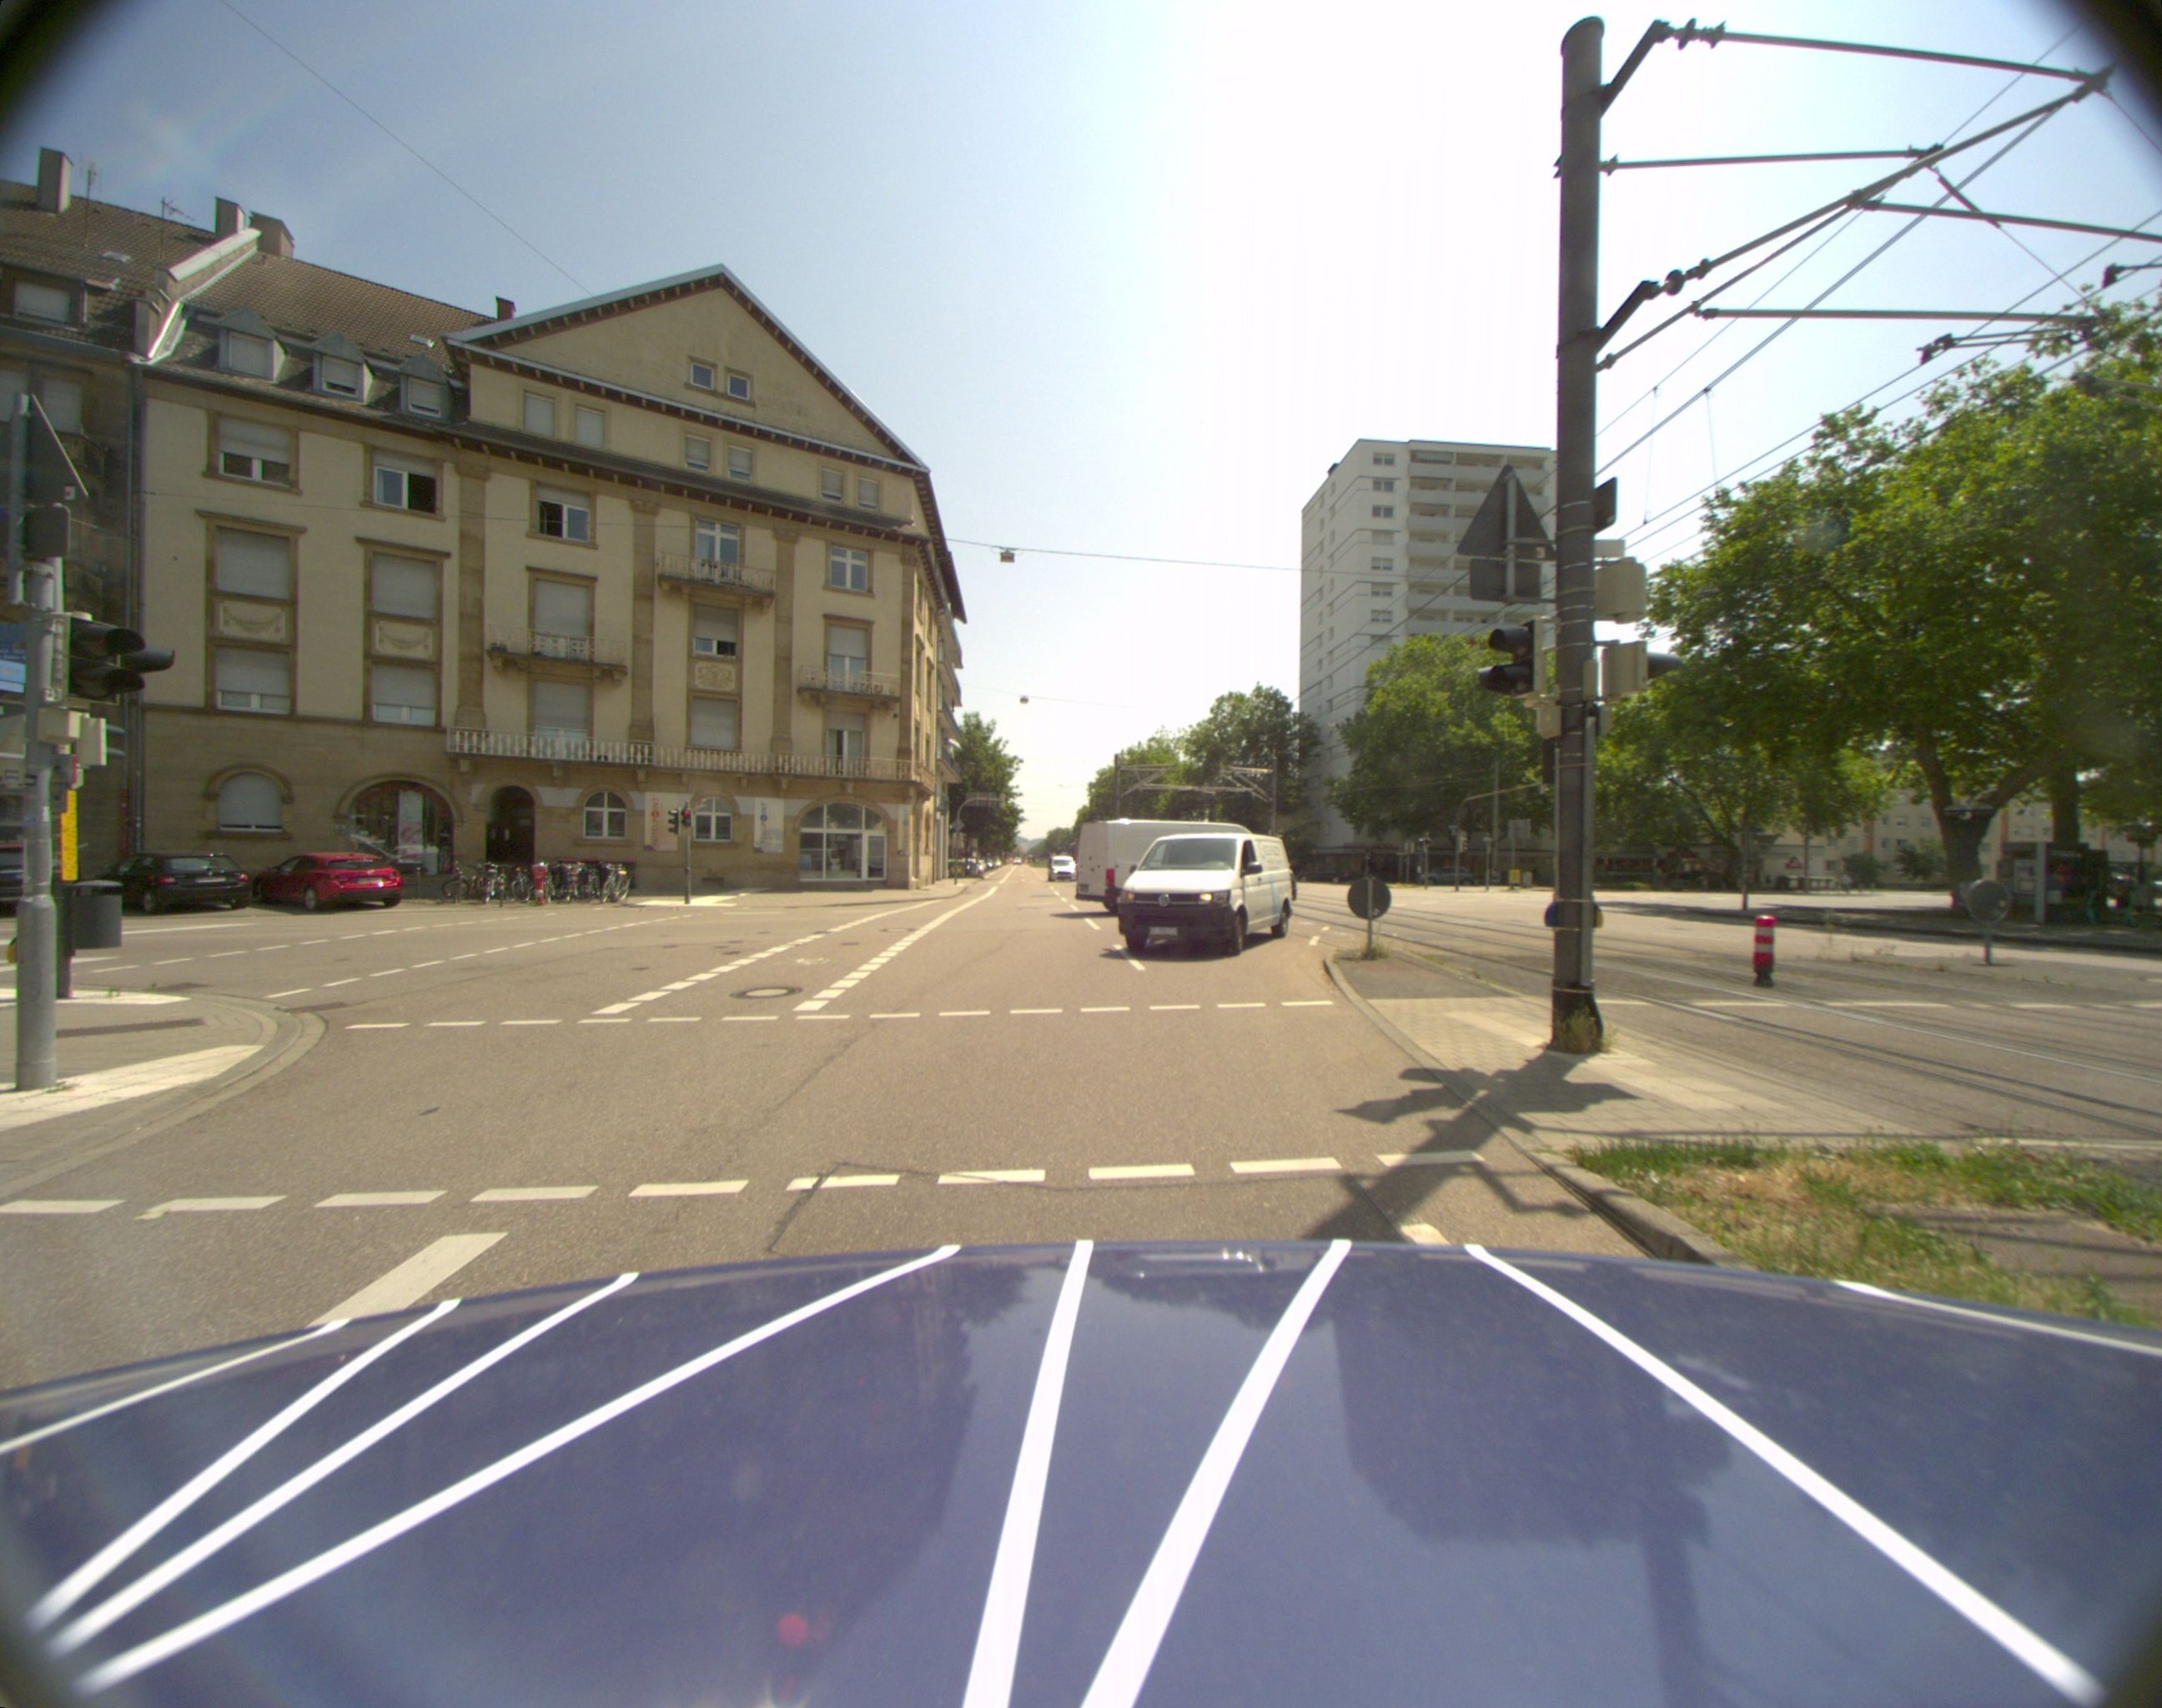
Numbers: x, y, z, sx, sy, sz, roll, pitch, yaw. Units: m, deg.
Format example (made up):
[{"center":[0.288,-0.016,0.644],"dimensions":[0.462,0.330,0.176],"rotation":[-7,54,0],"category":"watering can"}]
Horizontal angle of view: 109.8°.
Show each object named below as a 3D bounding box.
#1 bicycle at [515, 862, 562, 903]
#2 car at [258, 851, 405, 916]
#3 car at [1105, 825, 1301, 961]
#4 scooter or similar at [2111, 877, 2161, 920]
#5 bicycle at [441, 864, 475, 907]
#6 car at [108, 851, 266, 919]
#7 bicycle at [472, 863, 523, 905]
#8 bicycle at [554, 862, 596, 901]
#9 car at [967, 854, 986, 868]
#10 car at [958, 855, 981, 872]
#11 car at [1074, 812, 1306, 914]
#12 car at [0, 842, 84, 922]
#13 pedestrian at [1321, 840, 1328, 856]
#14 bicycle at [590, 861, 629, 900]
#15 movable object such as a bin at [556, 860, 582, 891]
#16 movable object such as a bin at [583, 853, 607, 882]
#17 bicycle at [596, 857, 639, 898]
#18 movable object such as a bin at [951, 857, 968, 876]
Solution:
[{"center":[-17.093,0.878,23.979],"dimensions":[0.565,1.145,1.802],"rotation":[0,2,-15],"category":"bicycle"},{"center":[-20.263,0.742,20.563],"dimensions":[3.218,1.471,1.619],"rotation":[2,3,22],"category":"car"},{"center":[2.378,0.559,13.446],"dimensions":[1.848,1.942,4.953],"rotation":[1,0,29],"category":"car"},{"center":[29.382,1.226,21.128],"dimensions":[0.257,1.114,0.977],"rotation":[0,1,8],"category":"scooter or similar"},{"center":[-18.179,0.898,22.208],"dimensions":[0.566,1.145,1.800],"rotation":[-1,3,-34],"category":"bicycle"},{"center":[-22.852,0.737,19.437],"dimensions":[3.218,1.471,1.619],"rotation":[2,3,22],"category":"car"},{"center":[-17.677,0.889,23.056],"dimensions":[0.565,1.145,1.802],"rotation":[0,2,-15],"category":"bicycle"},{"center":[-16.399,0.870,24.665],"dimensions":[0.565,1.145,1.802],"rotation":[0,2,-15],"category":"bicycle"},{"center":[-11.533,0.768,83.765],"dimensions":[2.000,1.522,3.997],"rotation":[0,1,-7],"category":"car"},{"center":[-10.428,0.873,71.263],"dimensions":[2.000,1.522,3.997],"rotation":[0,1,-7],"category":"car"},{"center":[3.246,0.252,21.969],"dimensions":[6.644,2.622,2.072],"rotation":[1,0,-28],"category":"car"},{"center":[-25.303,0.621,17.723],"dimensions":[3.218,1.656,1.619],"rotation":[2,3,22],"category":"car"},{"center":[25.573,-0.636,79.721],"dimensions":[0.510,1.701,0.554],"rotation":[0,1,-3],"category":"pedestrian"},{"center":[-15.605,0.859,25.181],"dimensions":[0.565,1.145,1.802],"rotation":[0,2,-15],"category":"bicycle"},{"center":[-18.134,0.743,26.909],"dimensions":[0.591,1.058,0.669],"rotation":[0,1,-20],"category":"movable object such as a bin"},{"center":[-17.445,0.475,27.266],"dimensions":[0.591,0.989,0.582],"rotation":[0,1,-20],"category":"movable object such as a bin"},{"center":[-14.535,0.704,23.880],"dimensions":[0.565,1.145,2.057],"rotation":[0,2,-15],"category":"bicycle"},{"center":[-9.224,0.914,57.802],"dimensions":[1.214,1.428,1.008],"rotation":[0,1,-5],"category":"movable object such as a bin"}]
